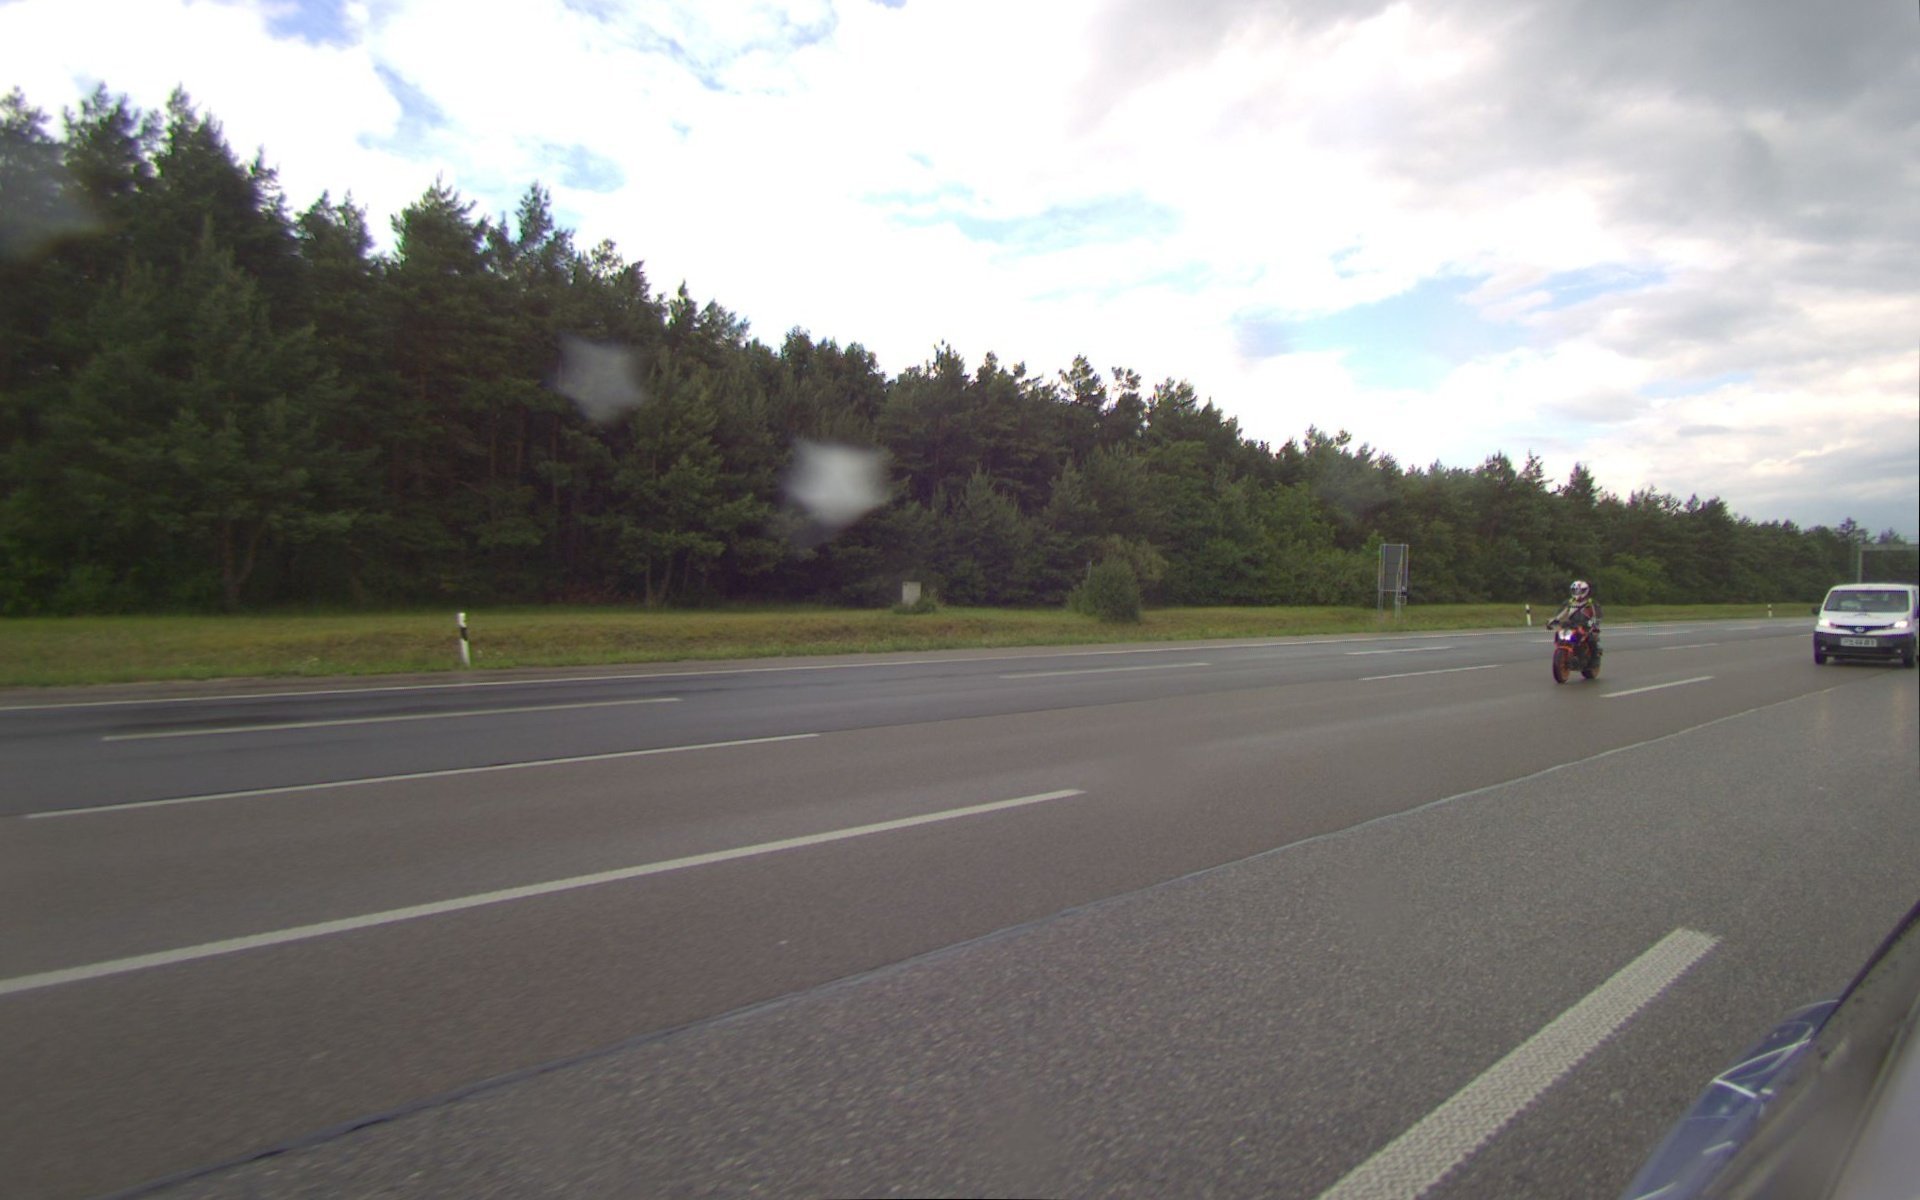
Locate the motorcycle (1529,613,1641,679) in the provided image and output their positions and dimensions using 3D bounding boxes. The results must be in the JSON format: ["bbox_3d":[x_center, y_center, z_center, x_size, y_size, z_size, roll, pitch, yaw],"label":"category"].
[{"bbox_3d":[10.889,0.763,17.603,2.134,1.044,1.002,0,1,-39],"label":"motorcycle"}]

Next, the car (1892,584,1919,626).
[{"bbox_3d":[48.331,0.263,50.269,5.379,2.039,1.999,0,0,-36],"label":"car"}]

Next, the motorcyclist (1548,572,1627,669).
[{"bbox_3d":[10.948,0.341,17.662,0.941,1.635,0.893,0,0,-39],"label":"motorcyclist"}]

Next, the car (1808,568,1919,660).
[{"bbox_3d":[21.415,0.286,23.308,4.792,1.925,1.968,0,1,-38],"label":"car"}]
